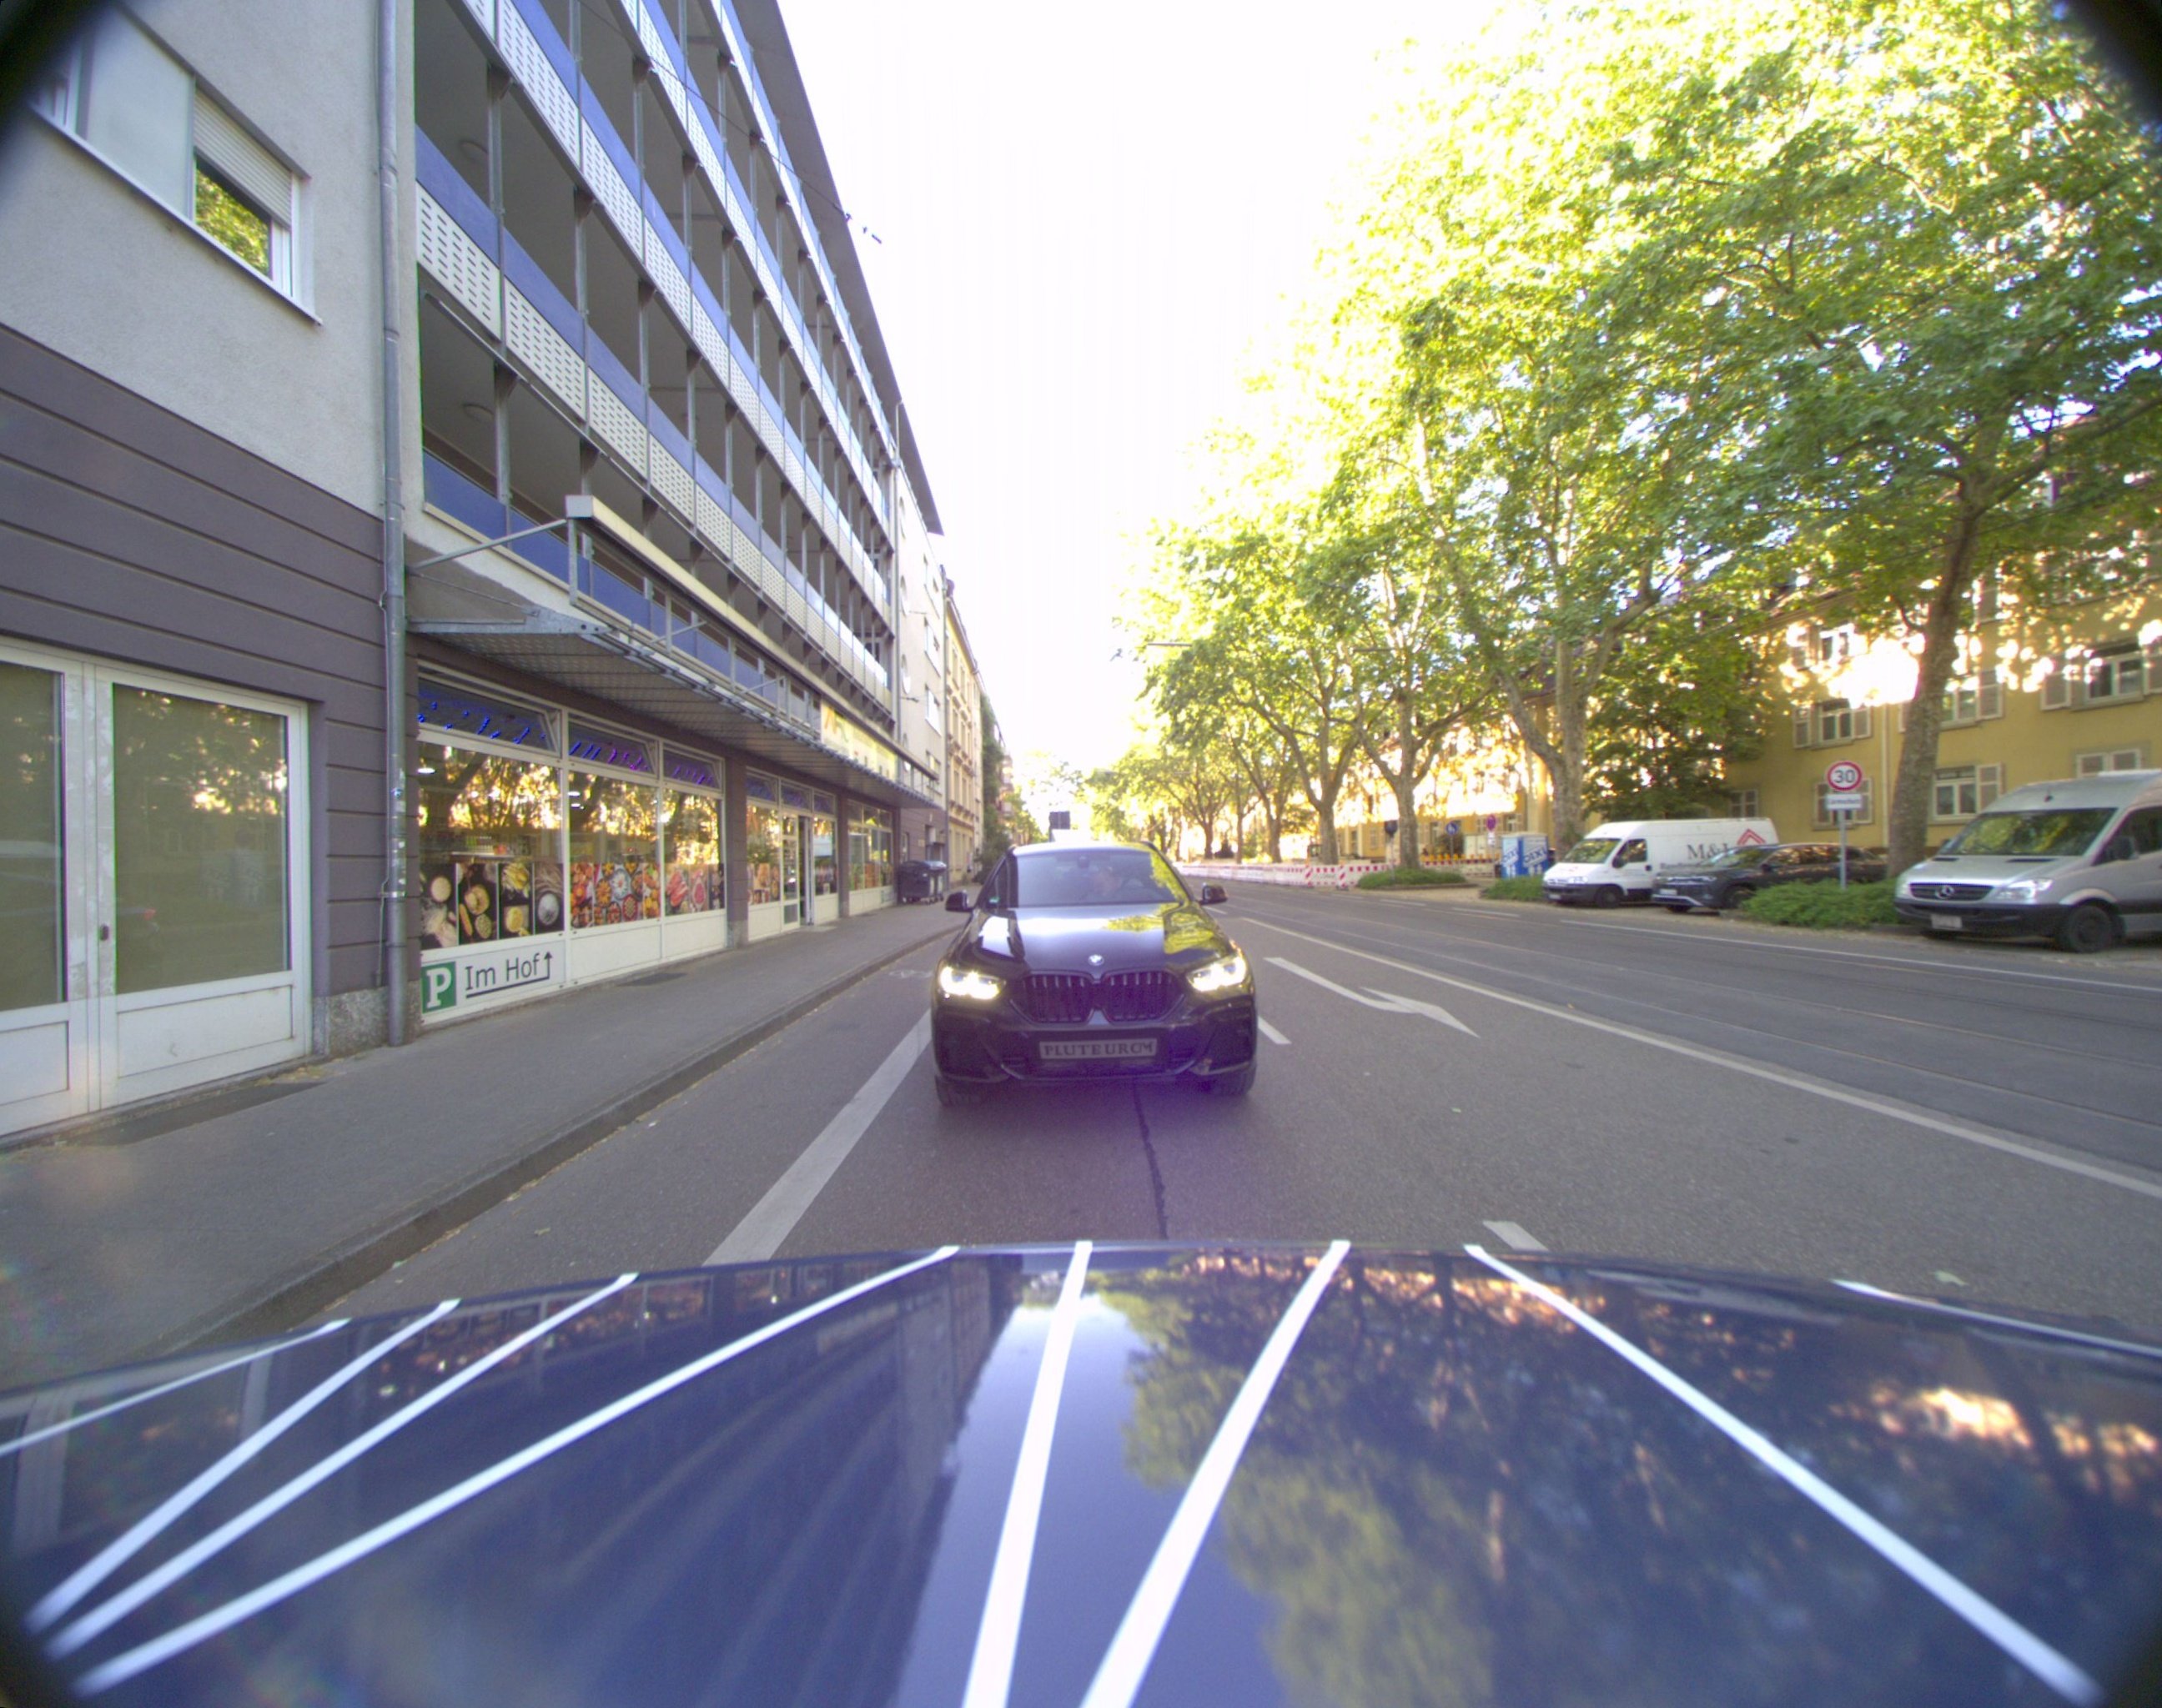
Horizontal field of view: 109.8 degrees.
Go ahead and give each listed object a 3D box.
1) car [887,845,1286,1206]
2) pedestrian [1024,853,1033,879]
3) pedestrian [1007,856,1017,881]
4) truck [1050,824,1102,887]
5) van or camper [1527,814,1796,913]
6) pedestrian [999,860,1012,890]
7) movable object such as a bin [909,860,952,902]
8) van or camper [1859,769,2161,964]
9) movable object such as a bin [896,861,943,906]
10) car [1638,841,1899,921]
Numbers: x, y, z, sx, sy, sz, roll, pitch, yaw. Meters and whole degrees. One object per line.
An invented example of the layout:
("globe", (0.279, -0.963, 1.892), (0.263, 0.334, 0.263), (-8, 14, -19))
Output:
("car", (0.070, 0.838, 6.140), (1.930, 1.742, 4.683), (-2, 1, 1))
("pedestrian", (-3.379, 0.778, 48.811), (0.541, 1.662, 0.630), (-1, 0, 1))
("pedestrian", (-4.577, 0.952, 50.509), (0.541, 1.662, 0.513), (-1, 0, 1))
("truck", (-0.337, 0.056, 41.059), (2.344, 3.095, 5.210), (-2, 1, -4))
("van or camper", (15.874, 0.246, 21.002), (5.763, 2.371, 2.156), (-2, 1, 0))
("pedestrian", (-3.675, 1.000, 36.970), (0.541, 1.437, 0.630), (-1, 0, 1))
("movable object such as a bin", (-5.280, 0.928, 26.821), (1.203, 1.402, 1.372), (-1, 0, 1))
("van or camper", (16.007, 0.088, 11.653), (5.931, 2.633, 2.156), (-2, 1, 0))
("movable object such as a bin", (-5.255, 0.949, 24.821), (1.203, 1.402, 1.372), (-1, 0, 1))
("car", (15.996, 0.607, 17.849), (4.540, 1.624, 1.693), (-2, 1, 1))
